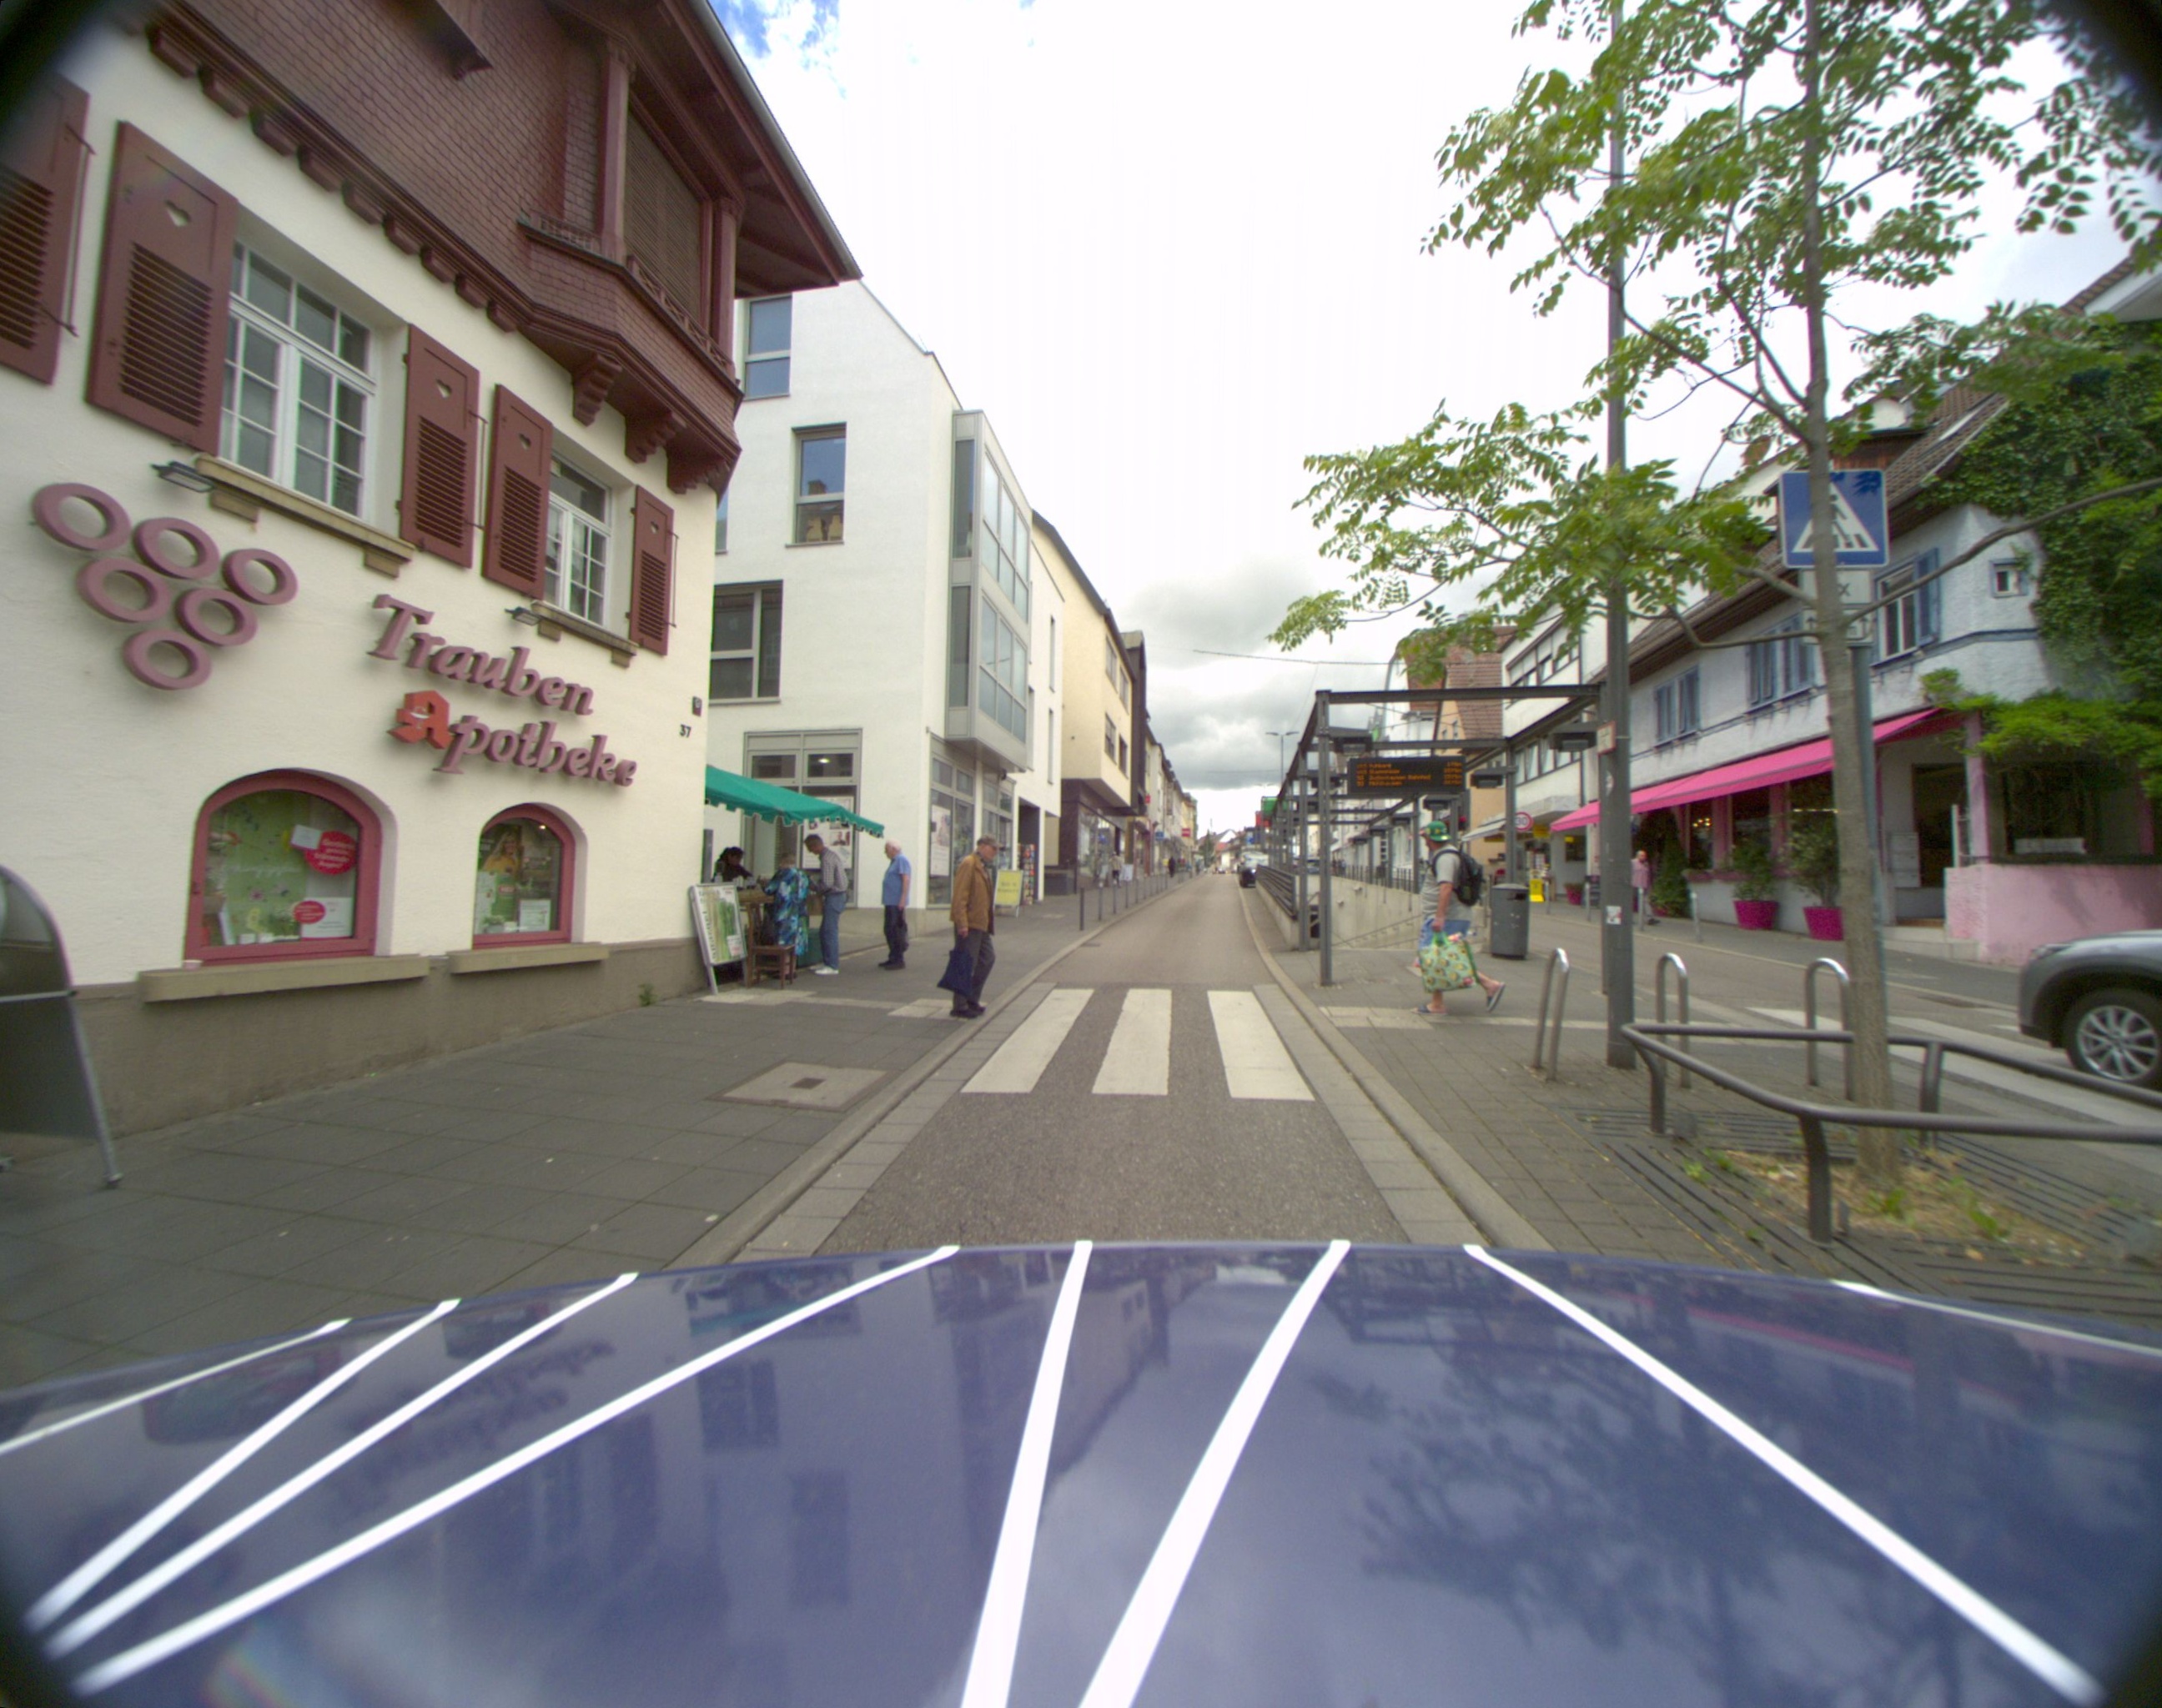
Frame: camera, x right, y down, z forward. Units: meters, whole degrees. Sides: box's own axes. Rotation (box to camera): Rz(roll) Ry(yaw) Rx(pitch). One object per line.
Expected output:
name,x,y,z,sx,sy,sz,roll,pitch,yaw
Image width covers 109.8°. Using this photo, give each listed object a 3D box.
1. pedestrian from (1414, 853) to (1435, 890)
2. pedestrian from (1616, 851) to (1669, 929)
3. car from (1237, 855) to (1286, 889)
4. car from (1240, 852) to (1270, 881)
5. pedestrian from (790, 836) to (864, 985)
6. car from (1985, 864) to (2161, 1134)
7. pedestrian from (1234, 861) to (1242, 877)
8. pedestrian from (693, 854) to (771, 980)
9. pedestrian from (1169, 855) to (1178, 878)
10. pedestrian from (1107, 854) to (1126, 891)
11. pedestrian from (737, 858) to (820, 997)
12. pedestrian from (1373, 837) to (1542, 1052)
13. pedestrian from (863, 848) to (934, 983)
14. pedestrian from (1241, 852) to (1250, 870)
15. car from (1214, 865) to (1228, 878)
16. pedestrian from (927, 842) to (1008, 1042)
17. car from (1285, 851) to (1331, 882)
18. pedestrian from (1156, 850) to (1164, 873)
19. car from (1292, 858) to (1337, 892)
pedestrian,16.087,0.810,35.619,0.748,1.704,0.664,0,0,11
pedestrian,12.847,0.796,17.401,0.695,1.730,0.825,0,0,13
car,8.818,0.837,37.418,1.997,1.557,4.434,-1,0,9
car,9.976,0.671,43.723,1.575,1.600,3.536,0,0,11
pedestrian,-3.333,0.704,9.957,0.704,1.846,0.778,0,1,-37
car,7.434,0.879,3.274,1.968,1.611,4.356,0,0,2
pedestrian,15.457,1.456,74.685,0.662,1.519,0.706,0,0,4
pedestrian,-4.614,0.799,10.075,0.624,1.603,0.703,0,1,15
pedestrian,7.026,0.937,57.770,0.663,1.696,0.780,0,0,8
pedestrian,1.679,0.854,35.786,0.759,1.664,0.780,3,1,8
pedestrian,-3.657,0.858,9.222,0.624,1.603,0.703,0,1,15
pedestrian,3.361,0.748,6.849,0.988,1.777,0.918,0,0,-18
pedestrian,-2.477,0.798,10.309,0.700,1.756,0.627,0,1,36
pedestrian,16.325,0.693,75.285,0.761,1.764,0.851,0,0,4
car,21.053,2.613,114.503,1.997,2.002,4.003,0,0,11
pedestrian,-1.057,0.789,7.220,0.676,1.791,0.788,0,1,-3
car,12.699,0.673,42.709,1.997,1.580,4.498,-1,0,11
pedestrian,6.027,0.570,58.028,0.638,1.689,0.709,0,1,5
car,11.389,0.993,37.244,1.702,1.538,3.902,0,0,11
